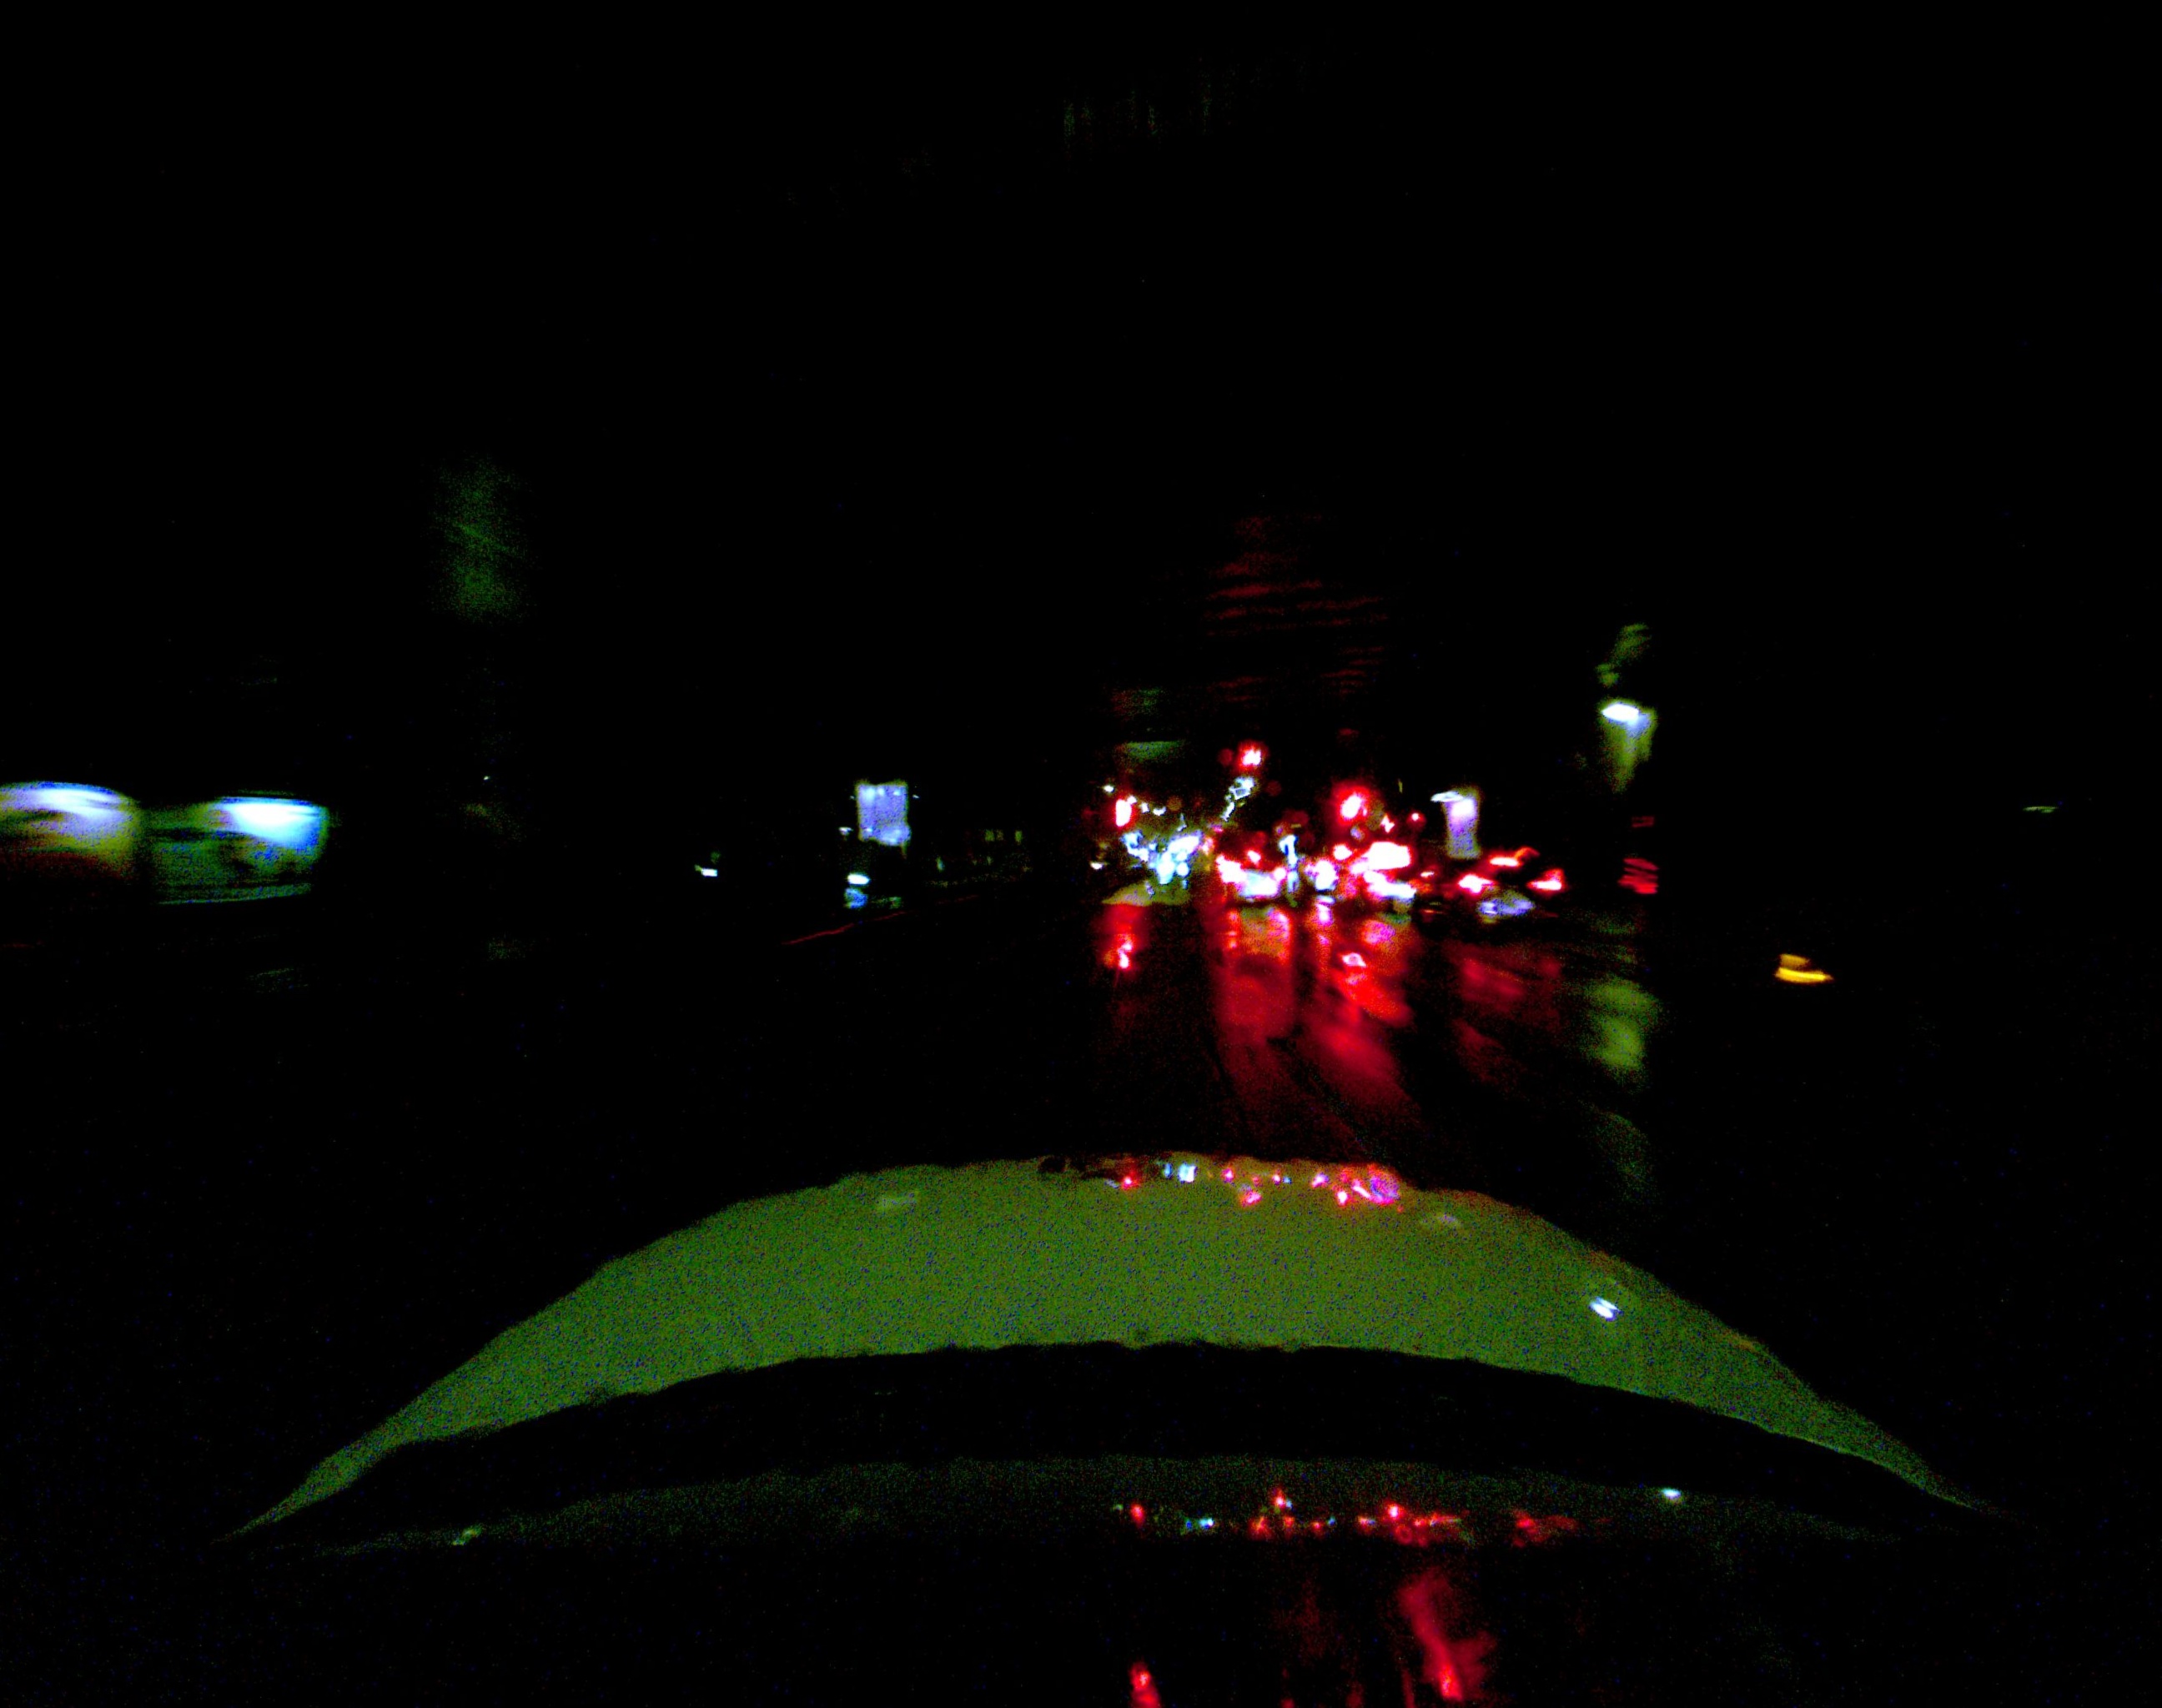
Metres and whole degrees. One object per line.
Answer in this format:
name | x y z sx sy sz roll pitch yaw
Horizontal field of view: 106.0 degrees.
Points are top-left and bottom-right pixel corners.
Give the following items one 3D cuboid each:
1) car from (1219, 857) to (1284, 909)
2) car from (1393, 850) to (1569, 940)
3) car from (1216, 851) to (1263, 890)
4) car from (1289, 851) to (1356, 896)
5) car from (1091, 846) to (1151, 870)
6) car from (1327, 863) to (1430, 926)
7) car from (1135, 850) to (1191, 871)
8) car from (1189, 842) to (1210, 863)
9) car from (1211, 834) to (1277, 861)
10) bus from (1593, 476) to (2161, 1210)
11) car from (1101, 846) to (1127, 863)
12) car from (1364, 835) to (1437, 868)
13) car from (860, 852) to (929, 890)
car | 5.182 0.839 25.162 1.710 1.446 4.172 -1 0 9
car | 7.727 0.727 16.200 1.712 1.487 4.168 -2 -1 5
car | 6.532 0.641 33.907 1.710 1.446 4.393 -2 -1 9
car | 8.578 0.665 29.203 1.710 1.446 4.172 -2 -1 9
car | 2.970 0.302 61.787 1.846 1.769 4.782 0 -1 -39
car | 8.021 1.019 22.402 1.710 1.487 4.798 -1 0 9
car | 6.493 0.497 64.822 1.846 1.623 4.330 0 -1 -40
car | 12.068 -0.142 82.935 1.982 2.014 4.010 -1 -1 9
car | 13.670 -0.513 68.593 2.462 2.194 5.018 0 -1 -42
bus | 6.163 -0.060 3.102 2.722 3.277 9.707 0 0 3
car | 3.155 0.079 77.763 1.982 1.618 4.010 -1 -1 9
car | 19.732 -0.131 50.498 3.959 2.014 2.007 -1 -1 13
car | -7.956 0.693 35.113 1.589 1.536 4.318 0 -1 5
